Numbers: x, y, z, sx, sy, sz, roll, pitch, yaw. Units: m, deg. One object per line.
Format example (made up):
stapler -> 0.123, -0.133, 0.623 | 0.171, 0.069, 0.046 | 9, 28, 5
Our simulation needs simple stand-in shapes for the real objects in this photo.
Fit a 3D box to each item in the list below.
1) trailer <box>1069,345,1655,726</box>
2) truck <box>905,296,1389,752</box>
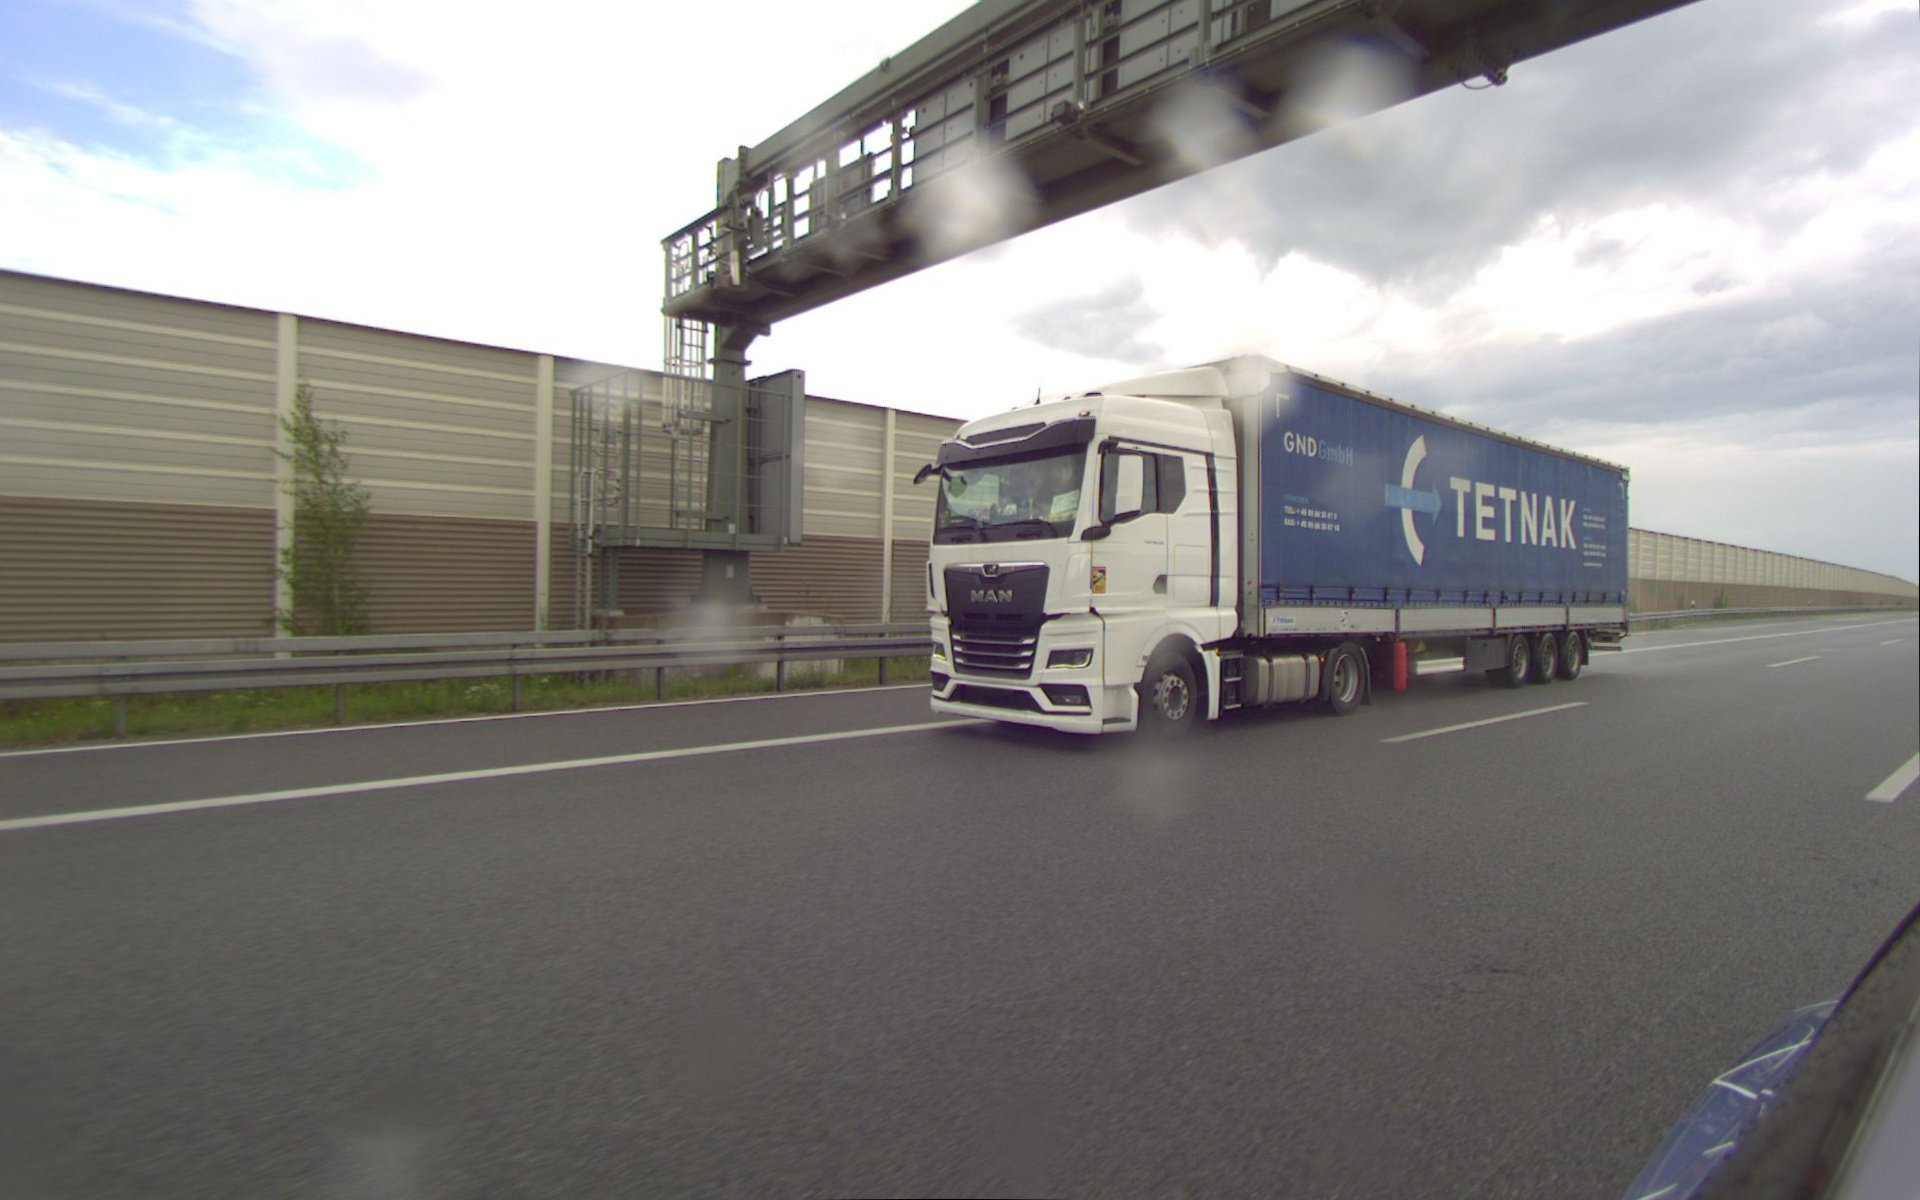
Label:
trailer -> 7.637, -0.727, 16.591 | 14.201, 4.082, 2.766 | 0, 1, -41
truck -> 2.411, -0.708, 11.988 | 5.626, 4.085, 2.749 | 0, 0, -41
